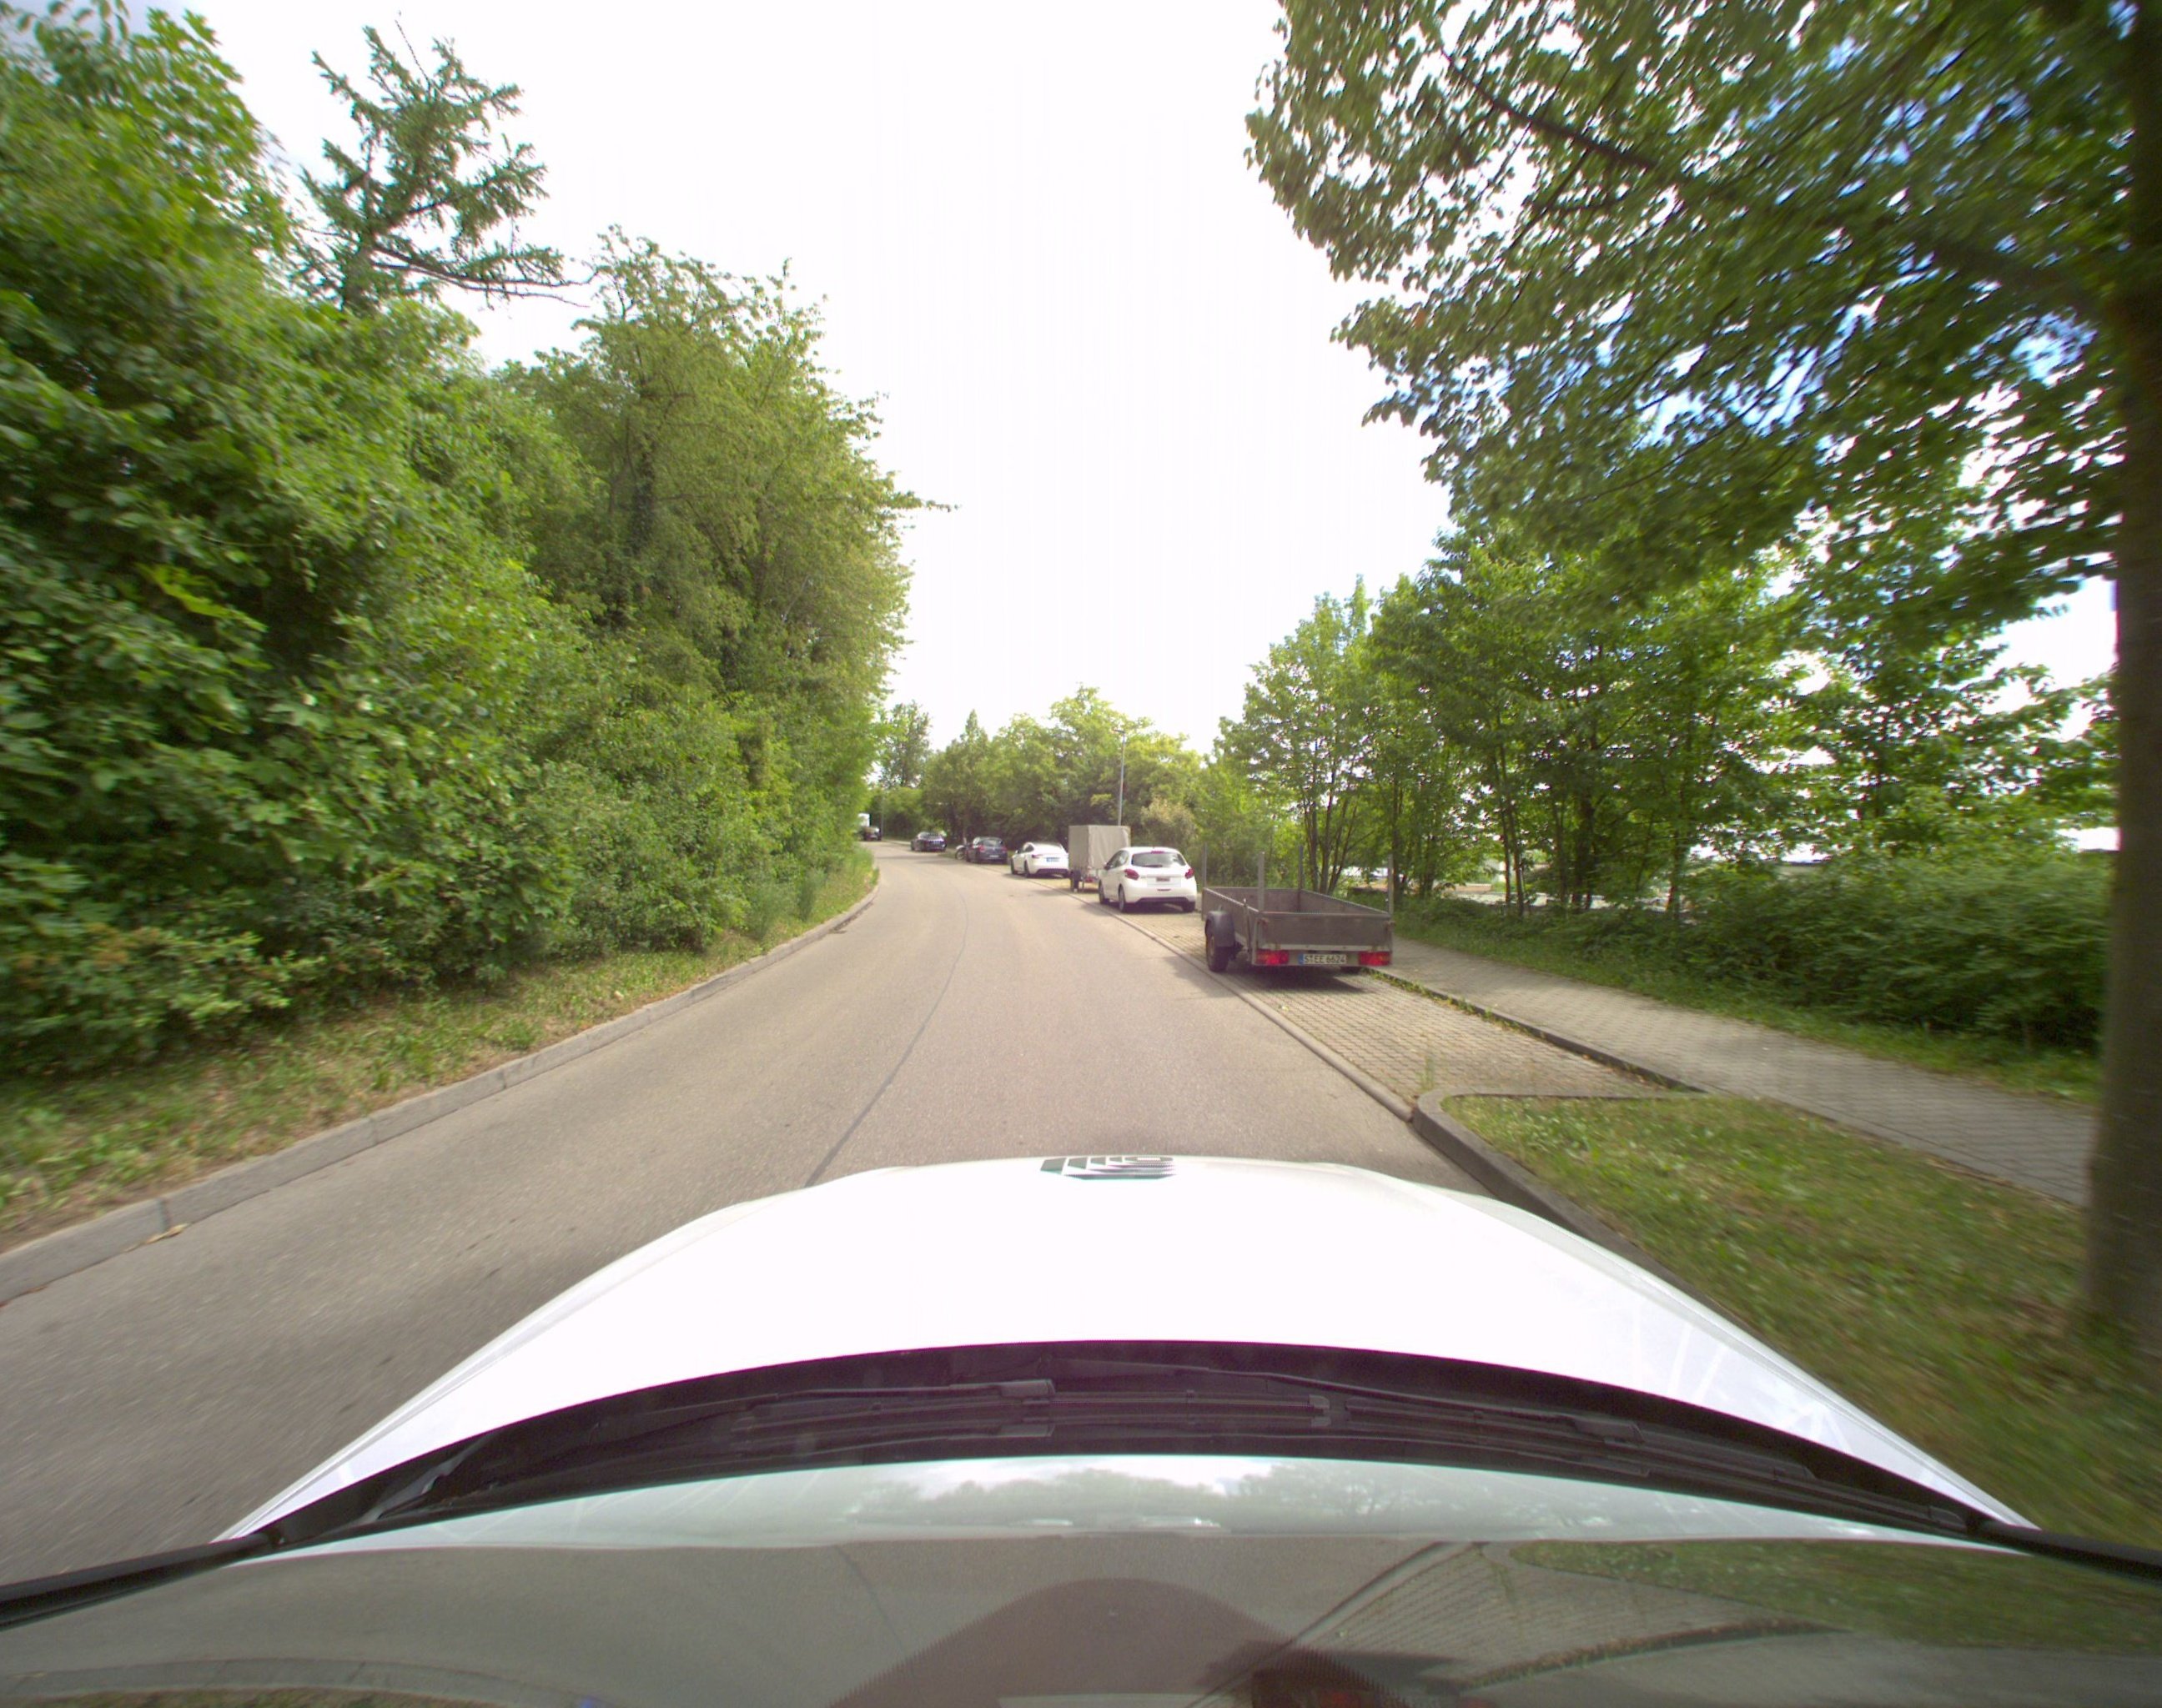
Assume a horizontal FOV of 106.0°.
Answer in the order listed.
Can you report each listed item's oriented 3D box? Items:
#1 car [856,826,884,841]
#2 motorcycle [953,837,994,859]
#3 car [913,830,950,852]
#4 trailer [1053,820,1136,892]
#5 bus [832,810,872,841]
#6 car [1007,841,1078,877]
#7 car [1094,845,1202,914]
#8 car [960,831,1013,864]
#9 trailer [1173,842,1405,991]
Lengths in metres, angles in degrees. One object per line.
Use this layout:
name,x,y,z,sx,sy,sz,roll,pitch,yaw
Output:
car,-19.983,-1.943,77.063,1.850,1.332,3.967,0,2,-25
motorcycle,-6.470,-0.363,48.901,2.150,1.266,1.075,1,3,18
car,-11.028,-0.962,59.843,1.849,1.516,3.970,0,2,-23
trailer,0.345,0.015,26.113,1.742,2.111,3.982,0,1,-13
bus,-23.147,-2.924,82.160,2.552,2.691,5.197,5,1,-28
car,-1.689,0.160,34.073,1.891,1.376,4.326,1,1,-17
car,1.503,0.536,19.707,1.768,1.411,3.990,0,2,-8
car,-5.331,-0.402,45.589,1.893,1.687,4.321,-2,2,-21
trailer,2.405,0.627,10.507,1.780,1.526,3.996,1,1,-3
